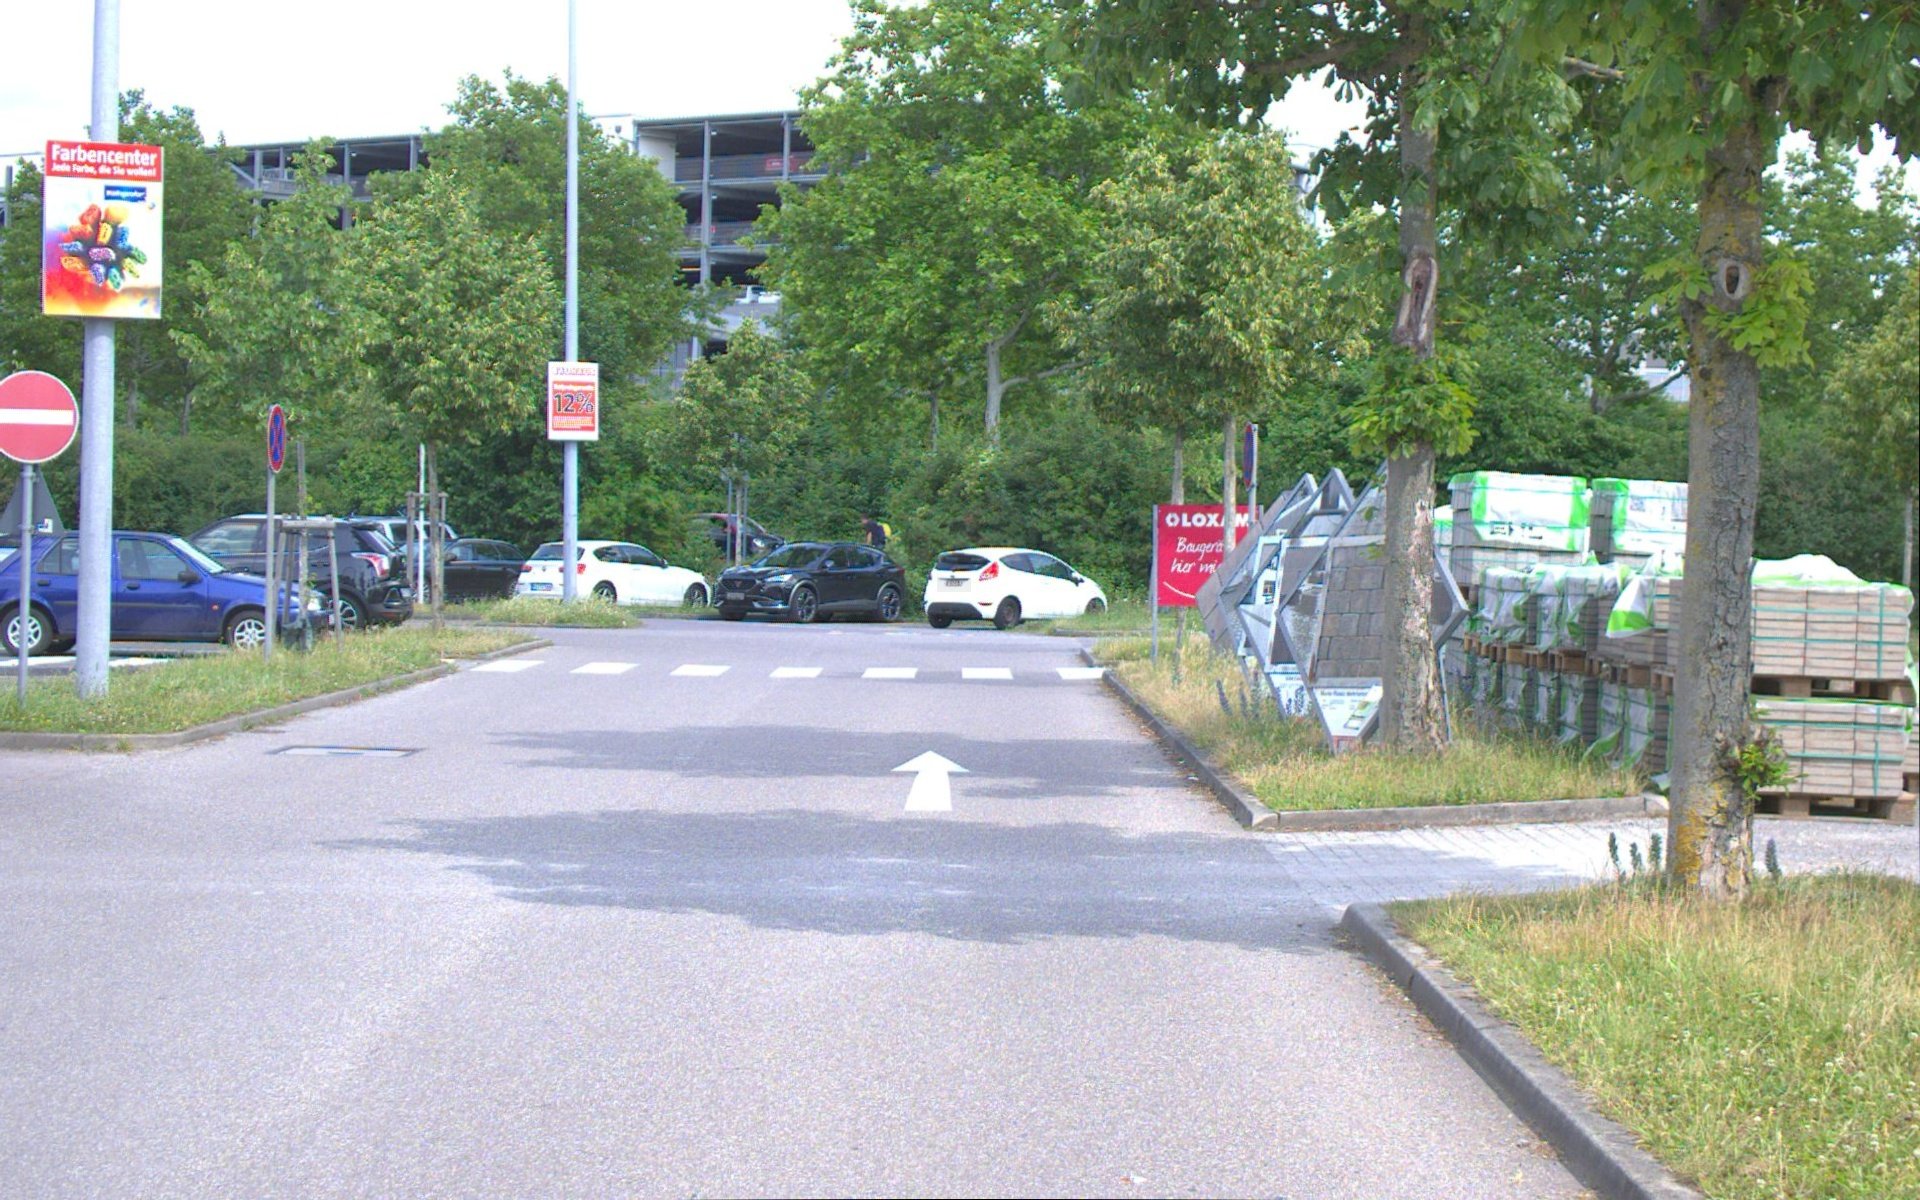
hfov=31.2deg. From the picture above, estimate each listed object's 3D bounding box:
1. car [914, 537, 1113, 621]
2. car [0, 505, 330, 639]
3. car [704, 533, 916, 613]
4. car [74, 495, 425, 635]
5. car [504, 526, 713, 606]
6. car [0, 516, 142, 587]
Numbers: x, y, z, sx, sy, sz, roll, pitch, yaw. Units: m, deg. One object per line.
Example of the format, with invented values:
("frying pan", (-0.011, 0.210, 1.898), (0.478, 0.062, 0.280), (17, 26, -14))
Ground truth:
("car", (0.976, -0.375, 61.192), (1.669, 1.407, 3.549), (2, 1, 39))
("car", (-8.964, -0.322, 37.770), (3.750, 1.363, 1.621), (1, 1, 0))
("car", (-2.764, -0.509, 64.156), (1.731, 1.405, 4.234), (2, 1, 35))
("car", (-8.810, -0.447, 42.815), (3.950, 1.619, 1.736), (1, 1, 2))
("car", (-6.788, -0.651, 66.671), (1.688, 1.504, 4.073), (1, 1, 38))
("car", (-20.385, -1.072, 75.641), (1.782, 1.499, 4.645), (2, 1, 34))
